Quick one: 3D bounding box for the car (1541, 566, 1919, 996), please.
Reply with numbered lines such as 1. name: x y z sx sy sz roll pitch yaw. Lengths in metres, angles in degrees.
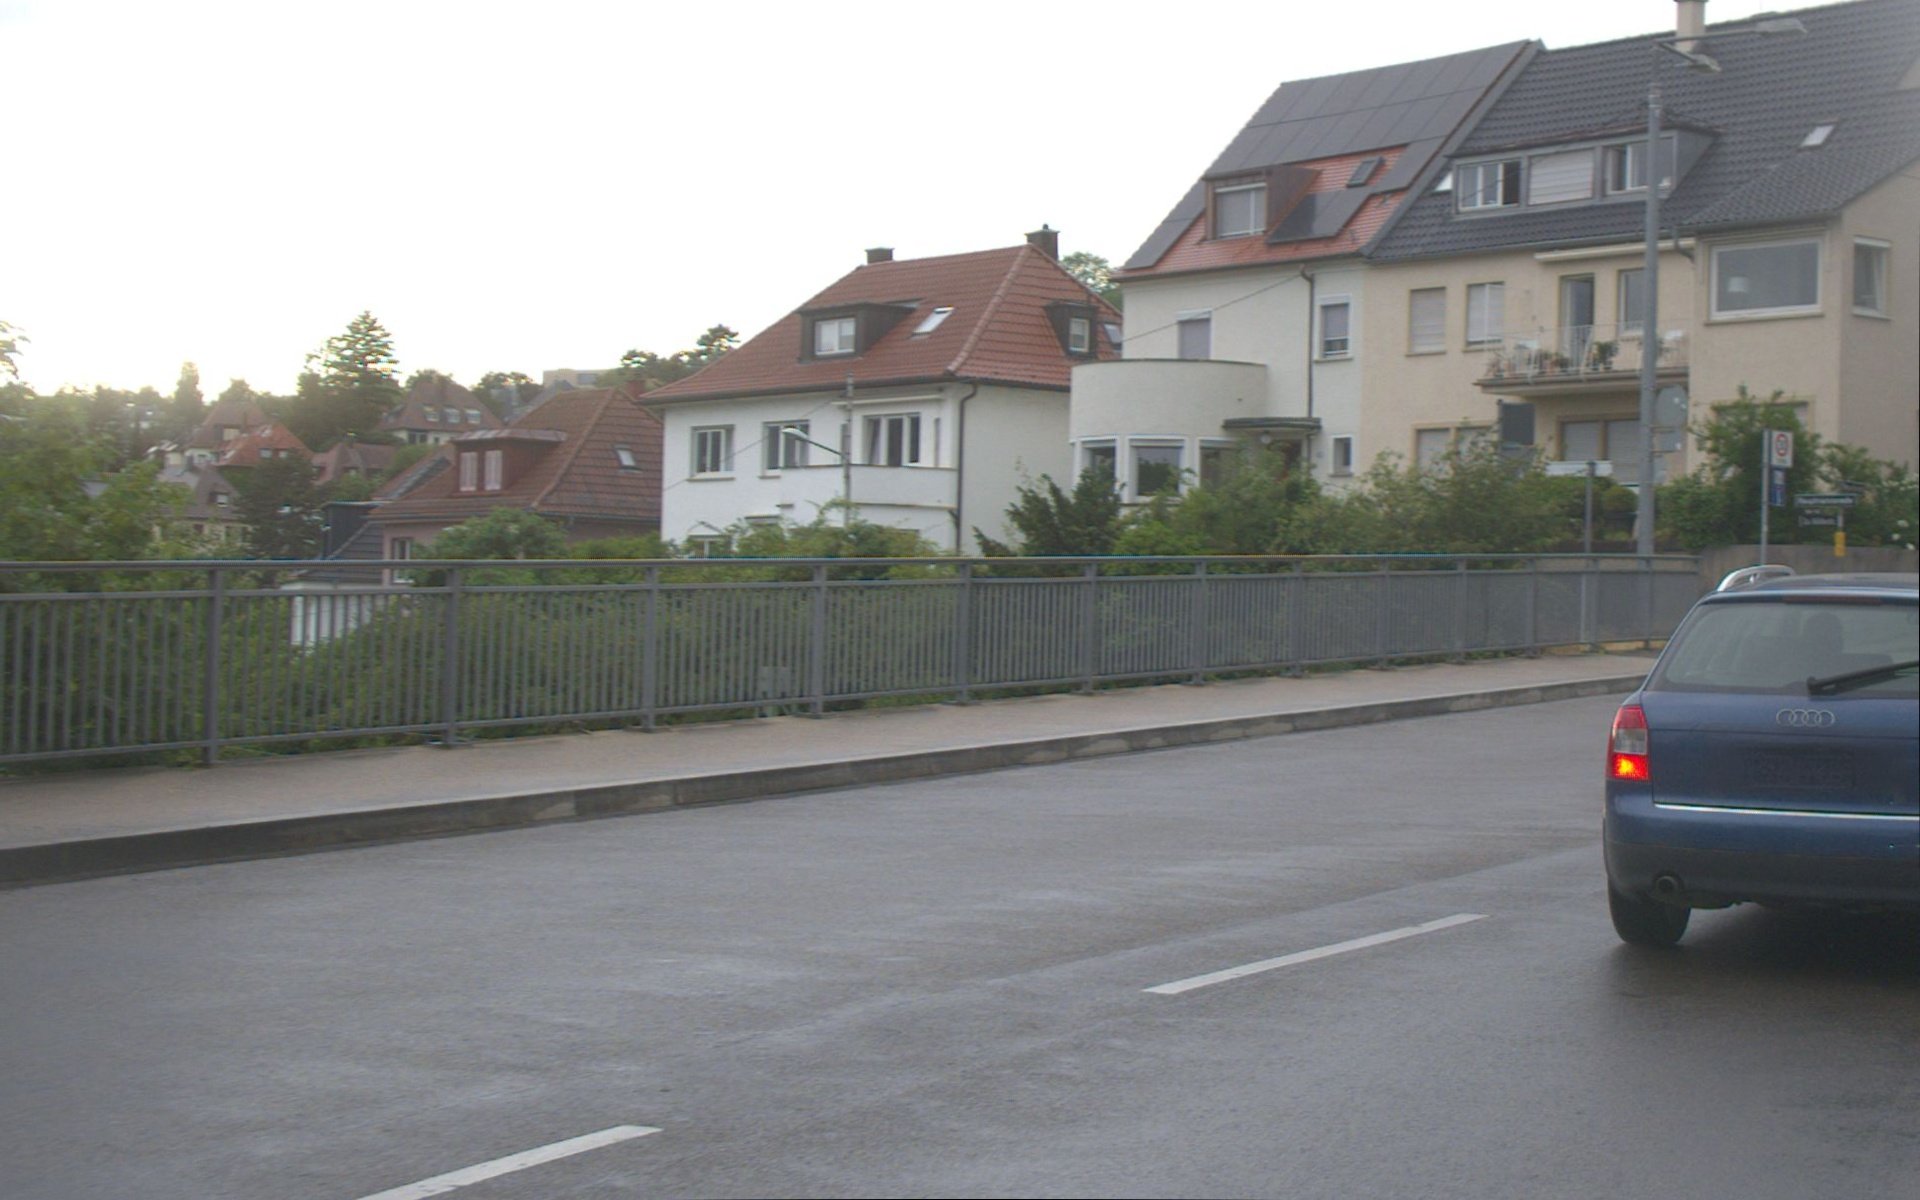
1. car: 3.733 0.597 13.546 1.750 1.403 3.994 2 2 26
